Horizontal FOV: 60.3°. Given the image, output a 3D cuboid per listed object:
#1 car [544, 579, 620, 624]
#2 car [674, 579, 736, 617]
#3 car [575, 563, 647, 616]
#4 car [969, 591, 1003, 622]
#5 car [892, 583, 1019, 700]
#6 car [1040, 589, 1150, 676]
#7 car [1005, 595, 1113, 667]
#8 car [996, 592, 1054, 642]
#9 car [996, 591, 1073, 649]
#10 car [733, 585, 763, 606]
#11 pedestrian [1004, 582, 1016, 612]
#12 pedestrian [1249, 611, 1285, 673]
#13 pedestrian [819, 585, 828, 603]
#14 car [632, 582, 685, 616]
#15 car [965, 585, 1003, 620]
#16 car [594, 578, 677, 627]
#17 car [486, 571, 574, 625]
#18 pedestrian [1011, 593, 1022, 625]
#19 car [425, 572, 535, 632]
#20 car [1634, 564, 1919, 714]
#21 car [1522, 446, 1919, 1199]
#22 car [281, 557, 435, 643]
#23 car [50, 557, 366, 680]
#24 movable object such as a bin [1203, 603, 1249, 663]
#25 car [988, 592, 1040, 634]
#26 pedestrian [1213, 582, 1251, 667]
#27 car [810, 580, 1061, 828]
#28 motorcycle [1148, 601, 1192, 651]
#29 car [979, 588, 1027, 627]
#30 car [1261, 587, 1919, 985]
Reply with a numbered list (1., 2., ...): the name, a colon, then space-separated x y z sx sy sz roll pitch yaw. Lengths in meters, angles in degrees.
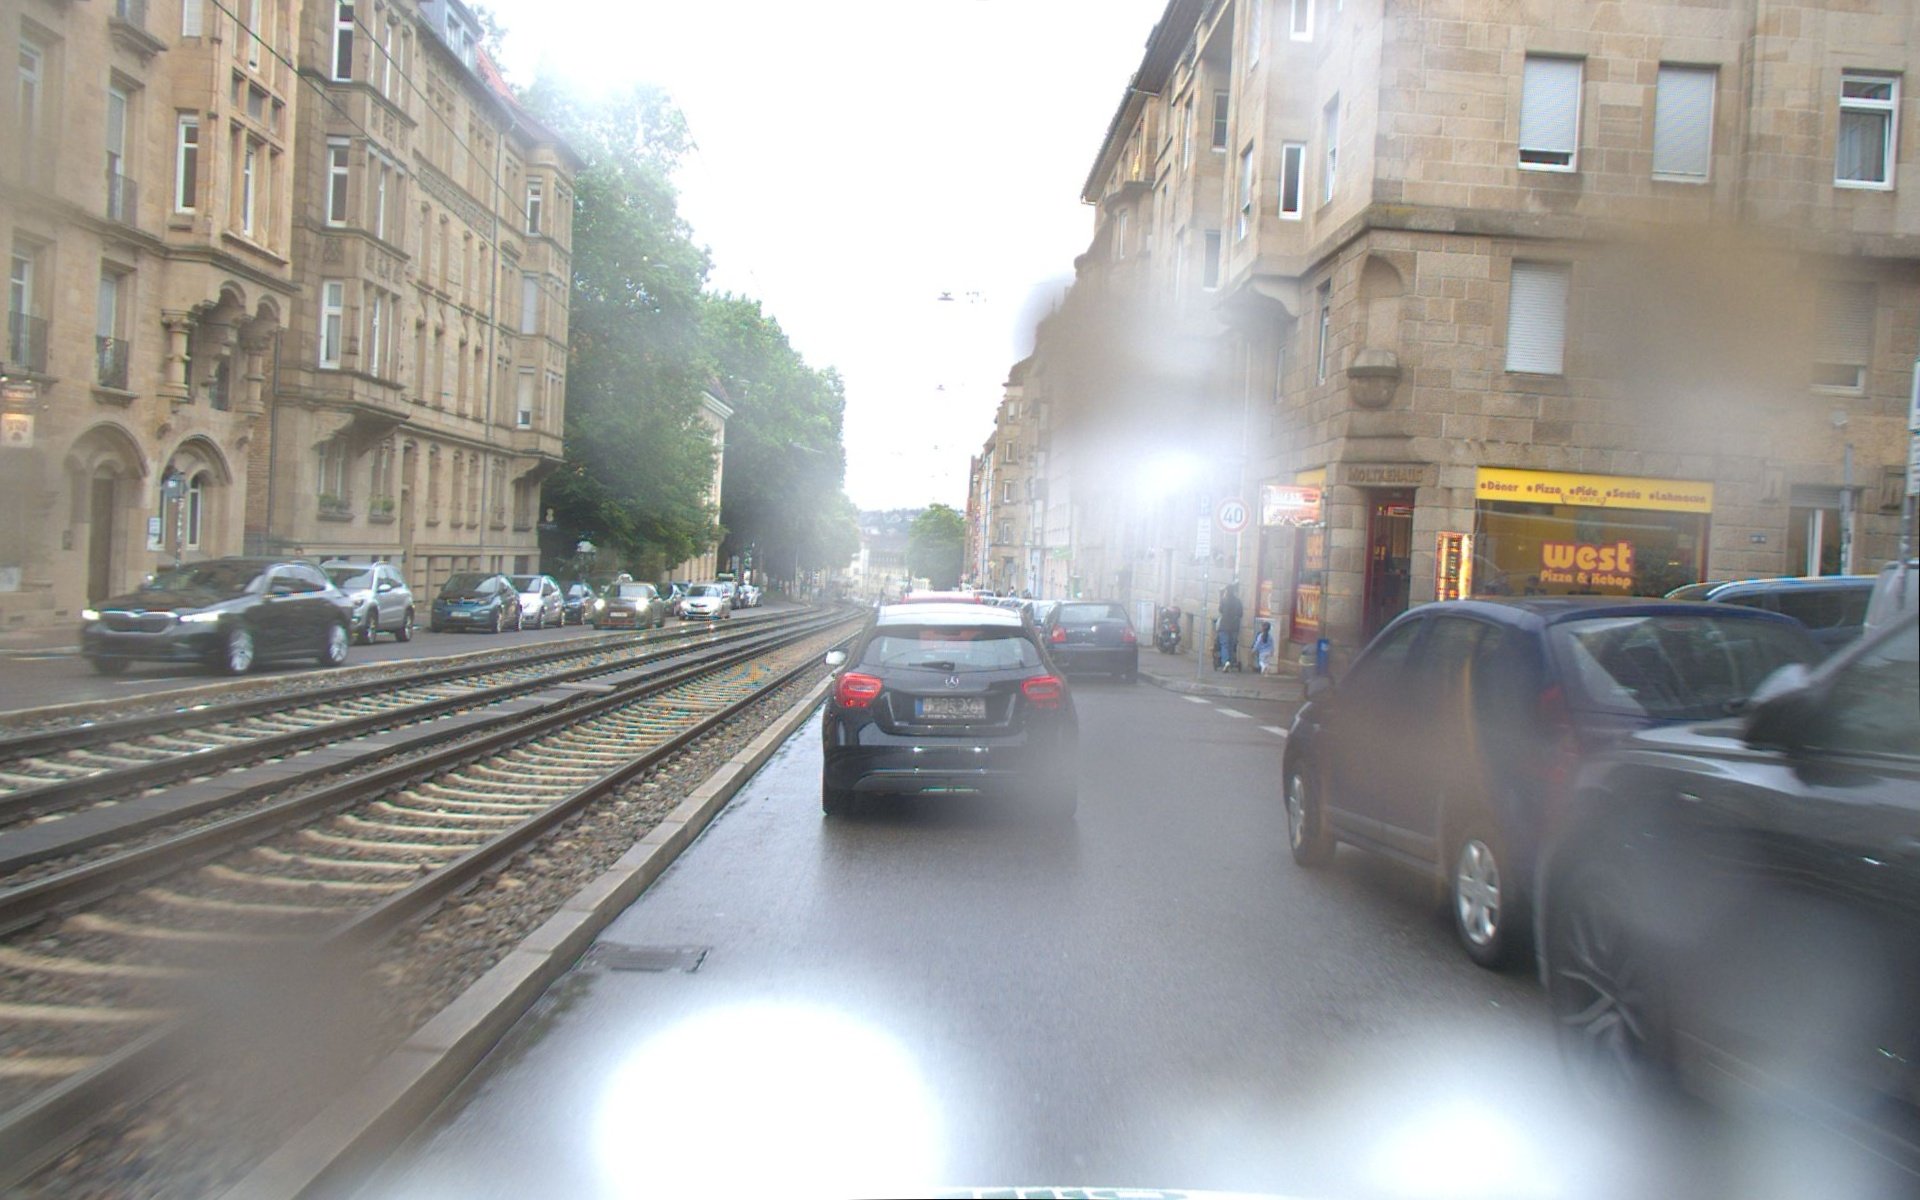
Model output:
1. car: -12.698 0.030 55.765 1.727 1.422 4.268 1 0 -2
2. car: -10.274 -0.093 66.894 1.942 1.482 4.292 1 0 -2
3. car: -13.097 -0.402 62.285 1.764 1.879 4.817 1 0 -1
4. car: 1.256 0.317 81.975 1.538 1.487 3.599 1 0 -1
5. car: -0.098 0.575 25.381 1.749 1.608 3.999 2 0 -1
6. car: 2.374 0.531 29.870 1.637 1.469 3.790 0 0 -1
7. car: 2.049 0.616 35.326 1.720 1.411 4.481 0 0 -4
8. car: 1.960 0.486 50.705 1.513 1.439 3.445 2 0 -2
9. car: 2.025 0.519 45.914 1.752 1.488 4.081 2 0 -3
10. car: -14.157 -0.308 110.734 1.469 1.415 3.987 0 0 0
11. pedestrian: 3.090 -0.204 102.233 0.730 1.866 1.039 -1 0 0
12. pedestrian: 5.440 0.734 29.330 0.500 1.068 0.626 2 0 -1
13. pedestrian: -12.675 -0.572 153.338 0.789 1.662 0.892 0 0 -1
14. car: -13.595 -0.051 74.803 1.812 1.489 4.548 0 0 -3
15. car: 1.226 0.114 86.545 1.754 1.796 4.210 1 0 -2
16. car: -9.925 0.062 50.837 1.669 1.412 3.782 1 0 2
17. car: -12.893 -0.060 49.816 1.660 1.550 3.854 1 0 -1
18. pedestrian: 3.188 0.492 93.280 0.595 1.794 0.688 0 0 -2
19. car: -12.934 0.041 44.818 1.832 1.534 4.168 1 0 -1
20. car: 11.920 0.481 22.506 4.681 1.894 1.999 -1 0 -2
21. car: 2.786 0.614 3.075 1.757 1.791 4.564 2 0 -2
22. car: -12.663 -0.015 35.076 1.821 1.681 4.313 1 0 -2
23. car: -10.072 0.217 22.654 2.045 1.483 4.860 1 0 1
24. movable object such as a bin: 5.155 0.629 32.157 0.651 1.122 1.123 2 0 -1
25. car: 1.926 0.456 60.166 1.559 1.459 3.682 1 0 -3
26. pedestrian: 5.134 0.451 31.210 0.550 1.562 0.710 2 0 -1
27. car: -0.201 0.651 12.295 1.548 1.531 3.573 2 0 -2
28. motorcycle: 5.363 0.645 42.417 0.691 1.219 2.745 2 0 -1
29. car: 1.656 0.271 65.327 1.634 1.459 3.954 1 0 -2
30. car: 2.867 0.694 8.317 1.658 1.508 3.925 0 0 -6
